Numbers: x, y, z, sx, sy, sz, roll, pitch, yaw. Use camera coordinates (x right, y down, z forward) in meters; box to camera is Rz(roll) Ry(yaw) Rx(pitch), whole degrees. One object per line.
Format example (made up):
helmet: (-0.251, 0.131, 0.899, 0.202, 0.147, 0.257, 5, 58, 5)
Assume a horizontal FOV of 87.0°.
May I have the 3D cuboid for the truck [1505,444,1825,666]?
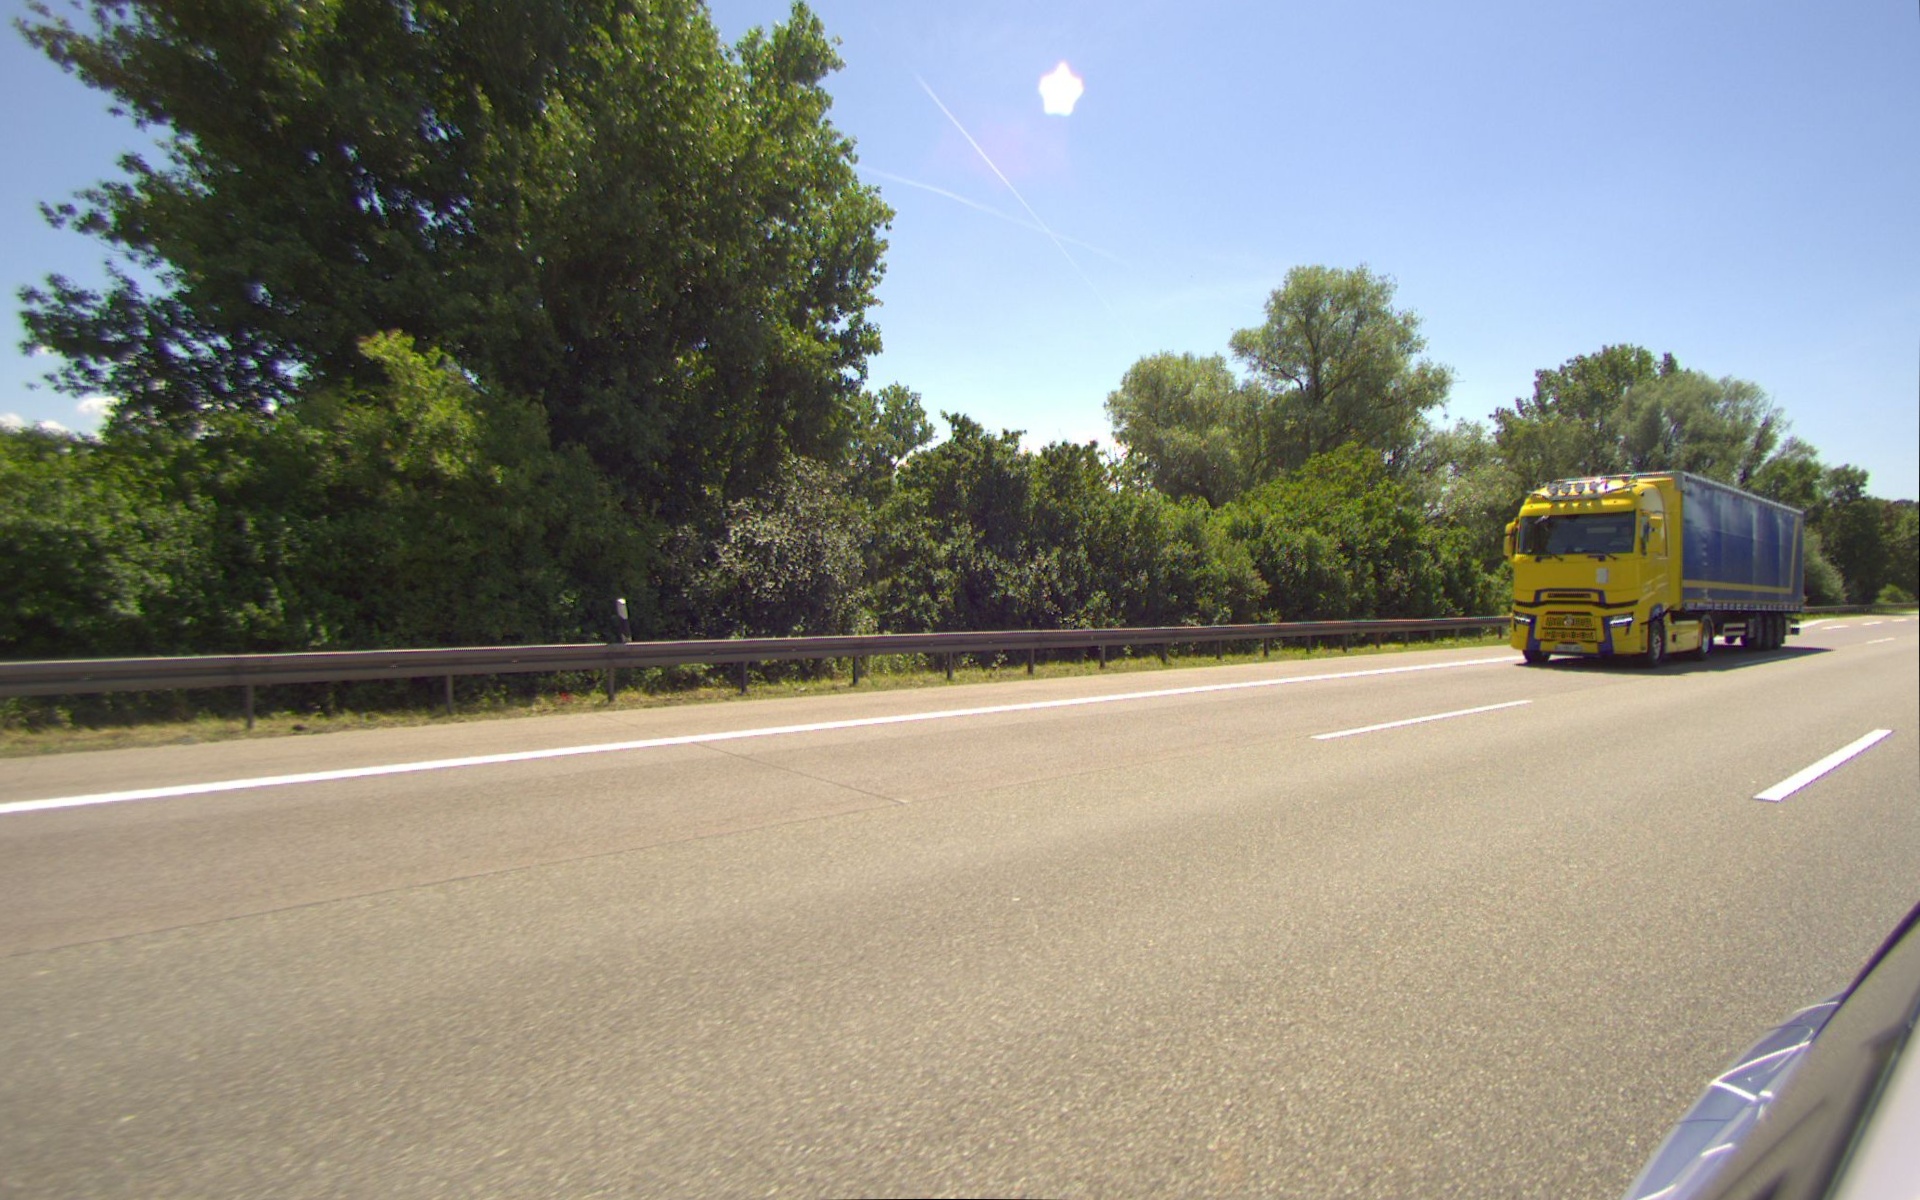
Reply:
truck: (18.900, -1.067, 26.151, 16.500, 4.310, 2.850, -1, 2, -41)
